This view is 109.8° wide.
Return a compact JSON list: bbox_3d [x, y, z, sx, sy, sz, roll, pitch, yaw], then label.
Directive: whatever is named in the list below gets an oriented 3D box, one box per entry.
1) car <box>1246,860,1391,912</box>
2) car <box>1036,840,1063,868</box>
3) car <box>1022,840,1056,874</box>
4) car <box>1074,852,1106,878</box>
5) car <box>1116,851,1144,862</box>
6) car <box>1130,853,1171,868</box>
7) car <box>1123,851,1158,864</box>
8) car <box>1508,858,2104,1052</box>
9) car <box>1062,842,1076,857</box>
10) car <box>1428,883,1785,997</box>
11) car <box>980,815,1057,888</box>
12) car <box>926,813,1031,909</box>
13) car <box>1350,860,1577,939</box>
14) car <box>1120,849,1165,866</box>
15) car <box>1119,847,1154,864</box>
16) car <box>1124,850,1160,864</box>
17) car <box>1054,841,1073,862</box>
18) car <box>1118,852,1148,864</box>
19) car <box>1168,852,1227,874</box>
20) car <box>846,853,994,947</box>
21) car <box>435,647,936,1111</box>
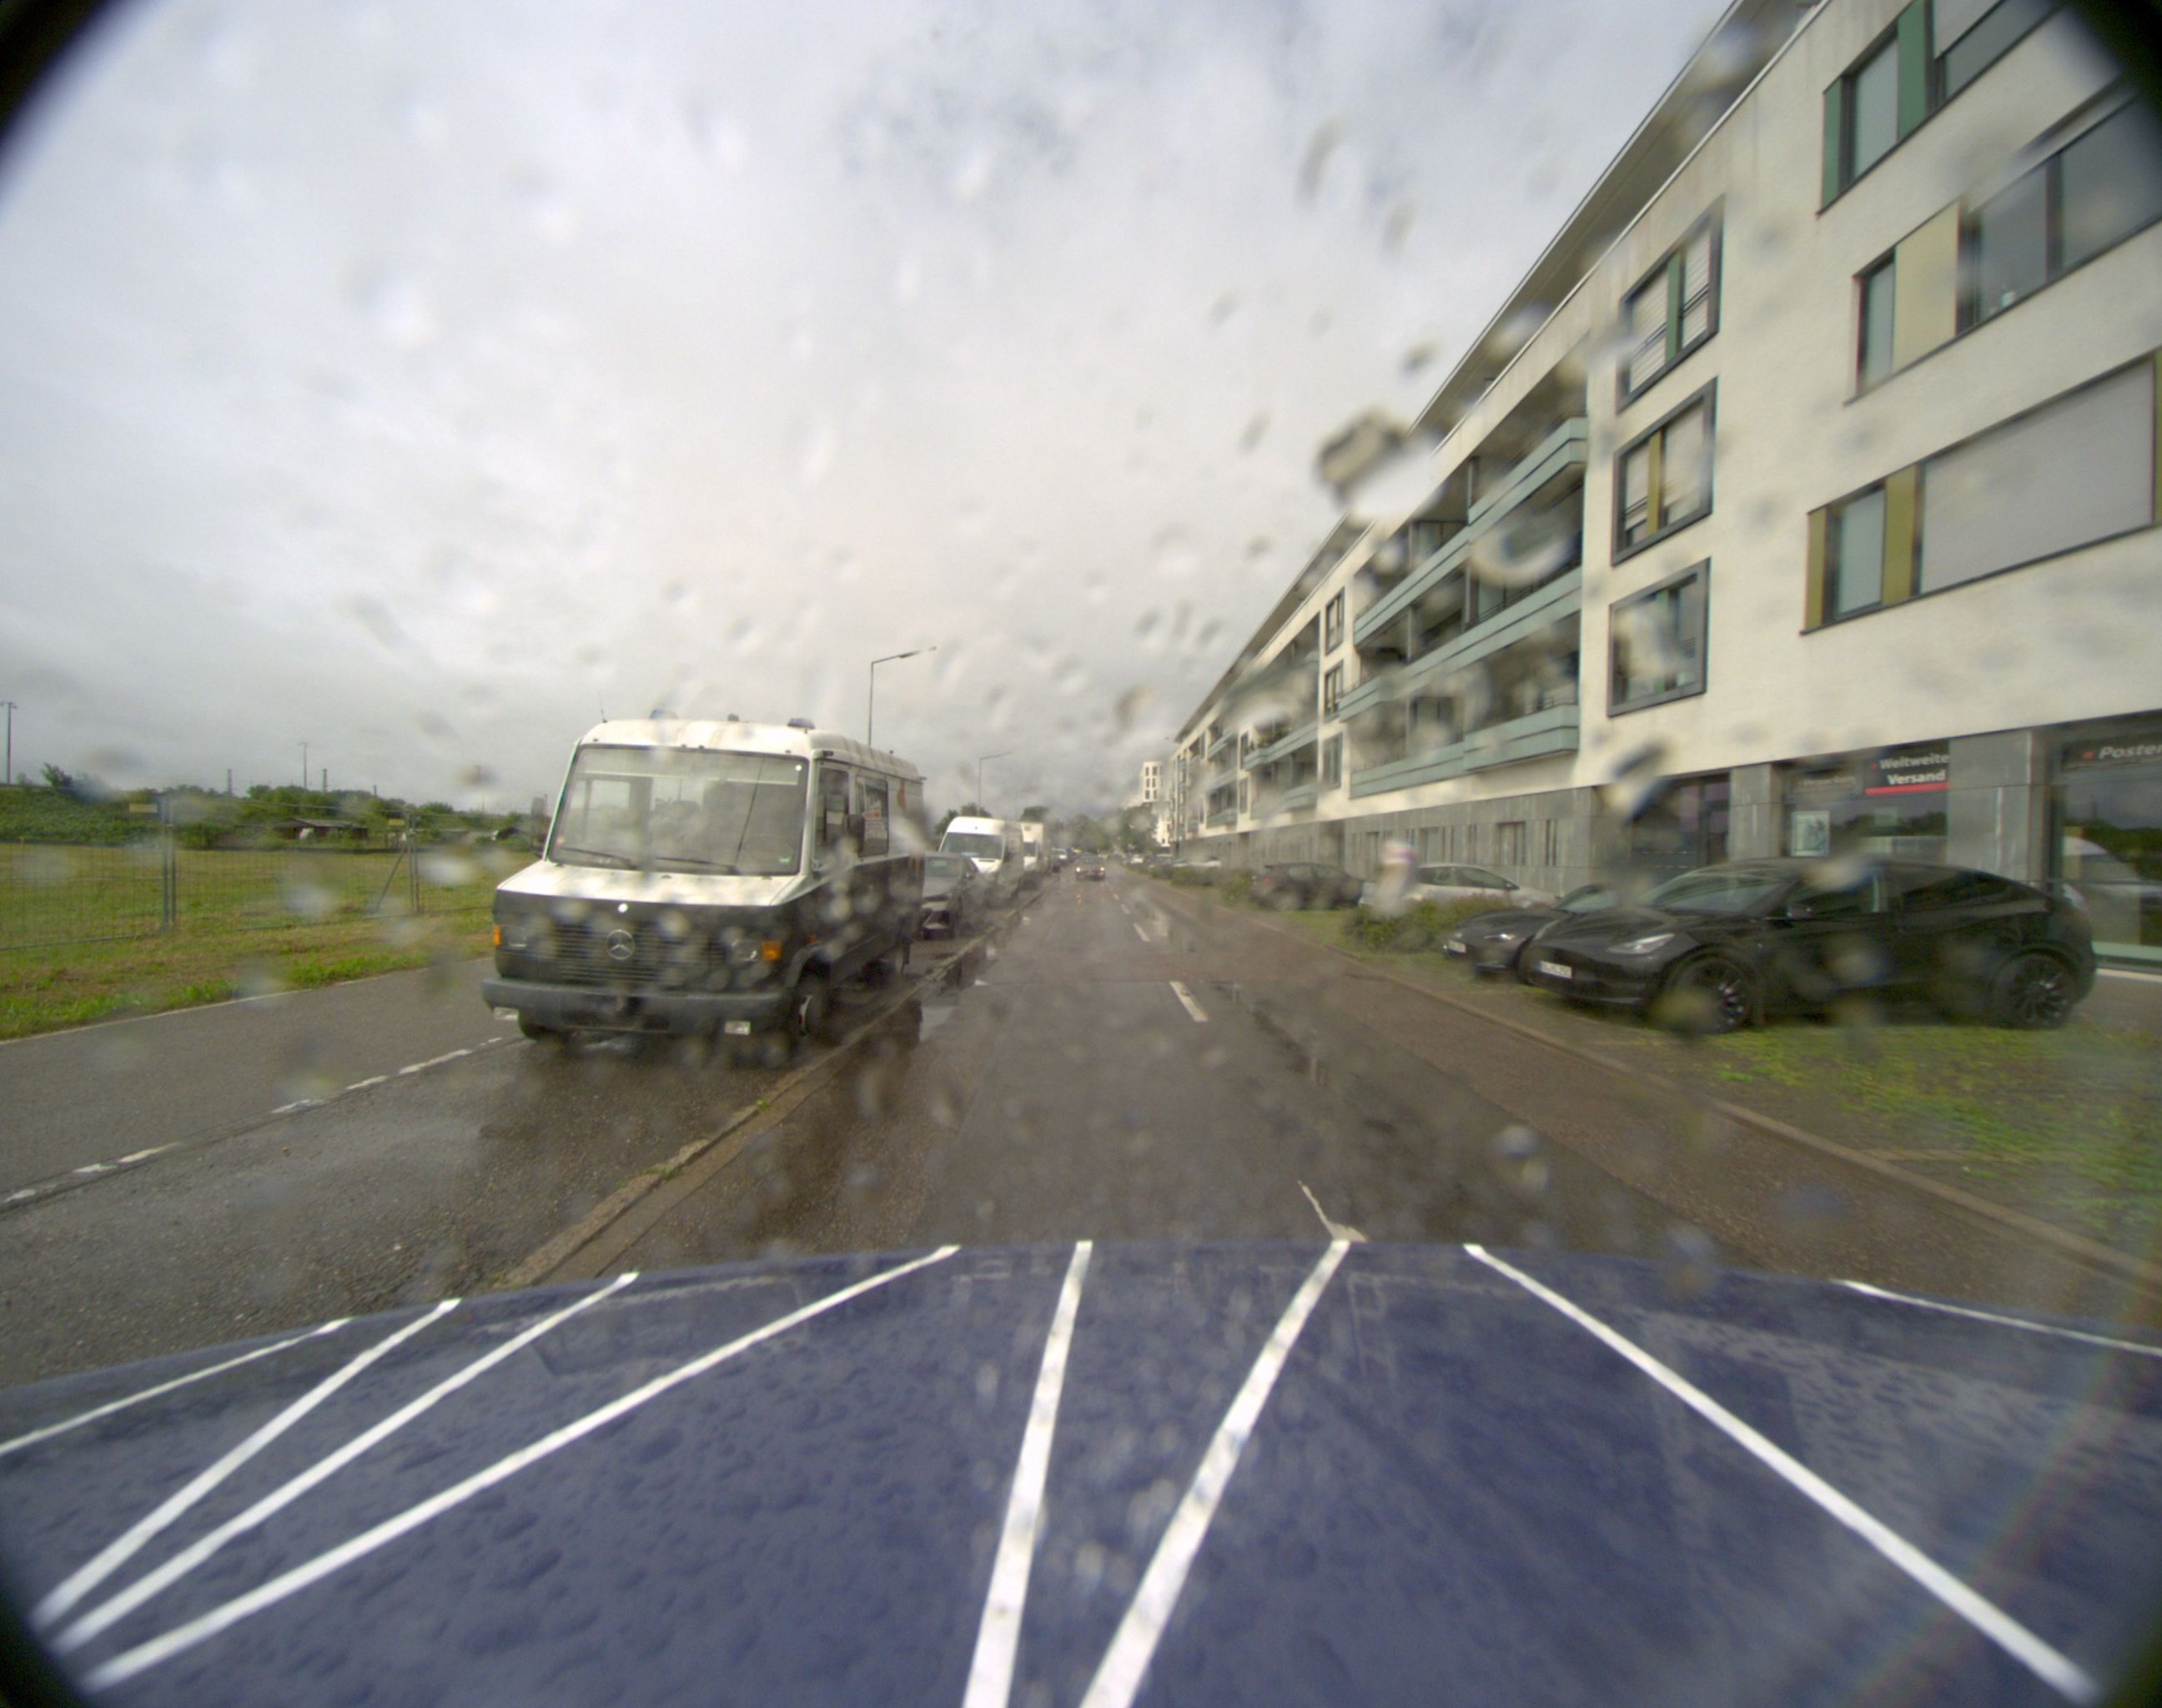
[{"bbox_3d":[6.888,0.913,22.272,3.740,1.365,1.644,-1,1,1],"label":"car"},{"bbox_3d":[-2.610,-0.016,64.302,1.998,2.228,4.563,1,0,1],"label":"car"},{"bbox_3d":[-2.831,0.185,52.416,1.998,2.228,4.563,1,0,1],"label":"car"},{"bbox_3d":[0.592,0.676,48.625,1.874,1.510,4.358,-2,0,1],"label":"car"},{"bbox_3d":[7.028,0.355,108.896,3.798,1.363,1.744,-2,1,0],"label":"car"},{"bbox_3d":[6.860,0.629,74.995,3.798,1.363,1.744,-2,1,0],"label":"car"},{"bbox_3d":[6.825,0.401,87.467,3.798,1.363,1.744,-2,1,0],"label":"car"},{"bbox_3d":[6.885,0.890,7.583,4.183,1.540,1.859,-2,1,0],"label":"car"},{"bbox_3d":[-1.860,-0.747,118.270,1.998,2.228,4.563,1,0,1],"label":"car"},{"bbox_3d":[6.723,1.072,9.970,3.614,1.176,1.539,-2,1,0],"label":"car"},{"bbox_3d":[-2.702,-0.120,34.847,2.476,2.939,6.887,2,0,3],"label":"car"},{"bbox_3d":[-2.980,0.184,23.834,2.073,2.514,6.658,3,0,2],"label":"car"},{"bbox_3d":[7.548,0.868,15.211,3.667,1.369,1.686,-2,0,-2],"label":"car"},{"bbox_3d":[5.441,0.322,67.118,3.798,1.363,1.744,-2,1,0],"label":"car"},{"bbox_3d":[6.765,0.193,92.843,3.974,1.937,1.953,-2,1,0],"label":"car"},{"bbox_3d":[6.827,0.343,84.992,3.798,1.363,1.744,-2,1,0],"label":"car"},{"bbox_3d":[-1.943,-0.308,86.345,1.998,2.228,4.563,1,0,1],"label":"car"},{"bbox_3d":[6.770,0.486,99.976,3.798,1.363,1.744,-2,1,0],"label":"car"},{"bbox_3d":[7.985,0.627,52.379,3.798,1.363,1.744,-2,1,0],"label":"car"},{"bbox_3d":[-2.963,0.772,14.958,1.734,1.485,4.441,3,0,2],"label":"car"},{"bbox_3d":[-3.060,0.145,7.549,2.150,2.867,5.274,4,1,-1],"label":"car"}]
